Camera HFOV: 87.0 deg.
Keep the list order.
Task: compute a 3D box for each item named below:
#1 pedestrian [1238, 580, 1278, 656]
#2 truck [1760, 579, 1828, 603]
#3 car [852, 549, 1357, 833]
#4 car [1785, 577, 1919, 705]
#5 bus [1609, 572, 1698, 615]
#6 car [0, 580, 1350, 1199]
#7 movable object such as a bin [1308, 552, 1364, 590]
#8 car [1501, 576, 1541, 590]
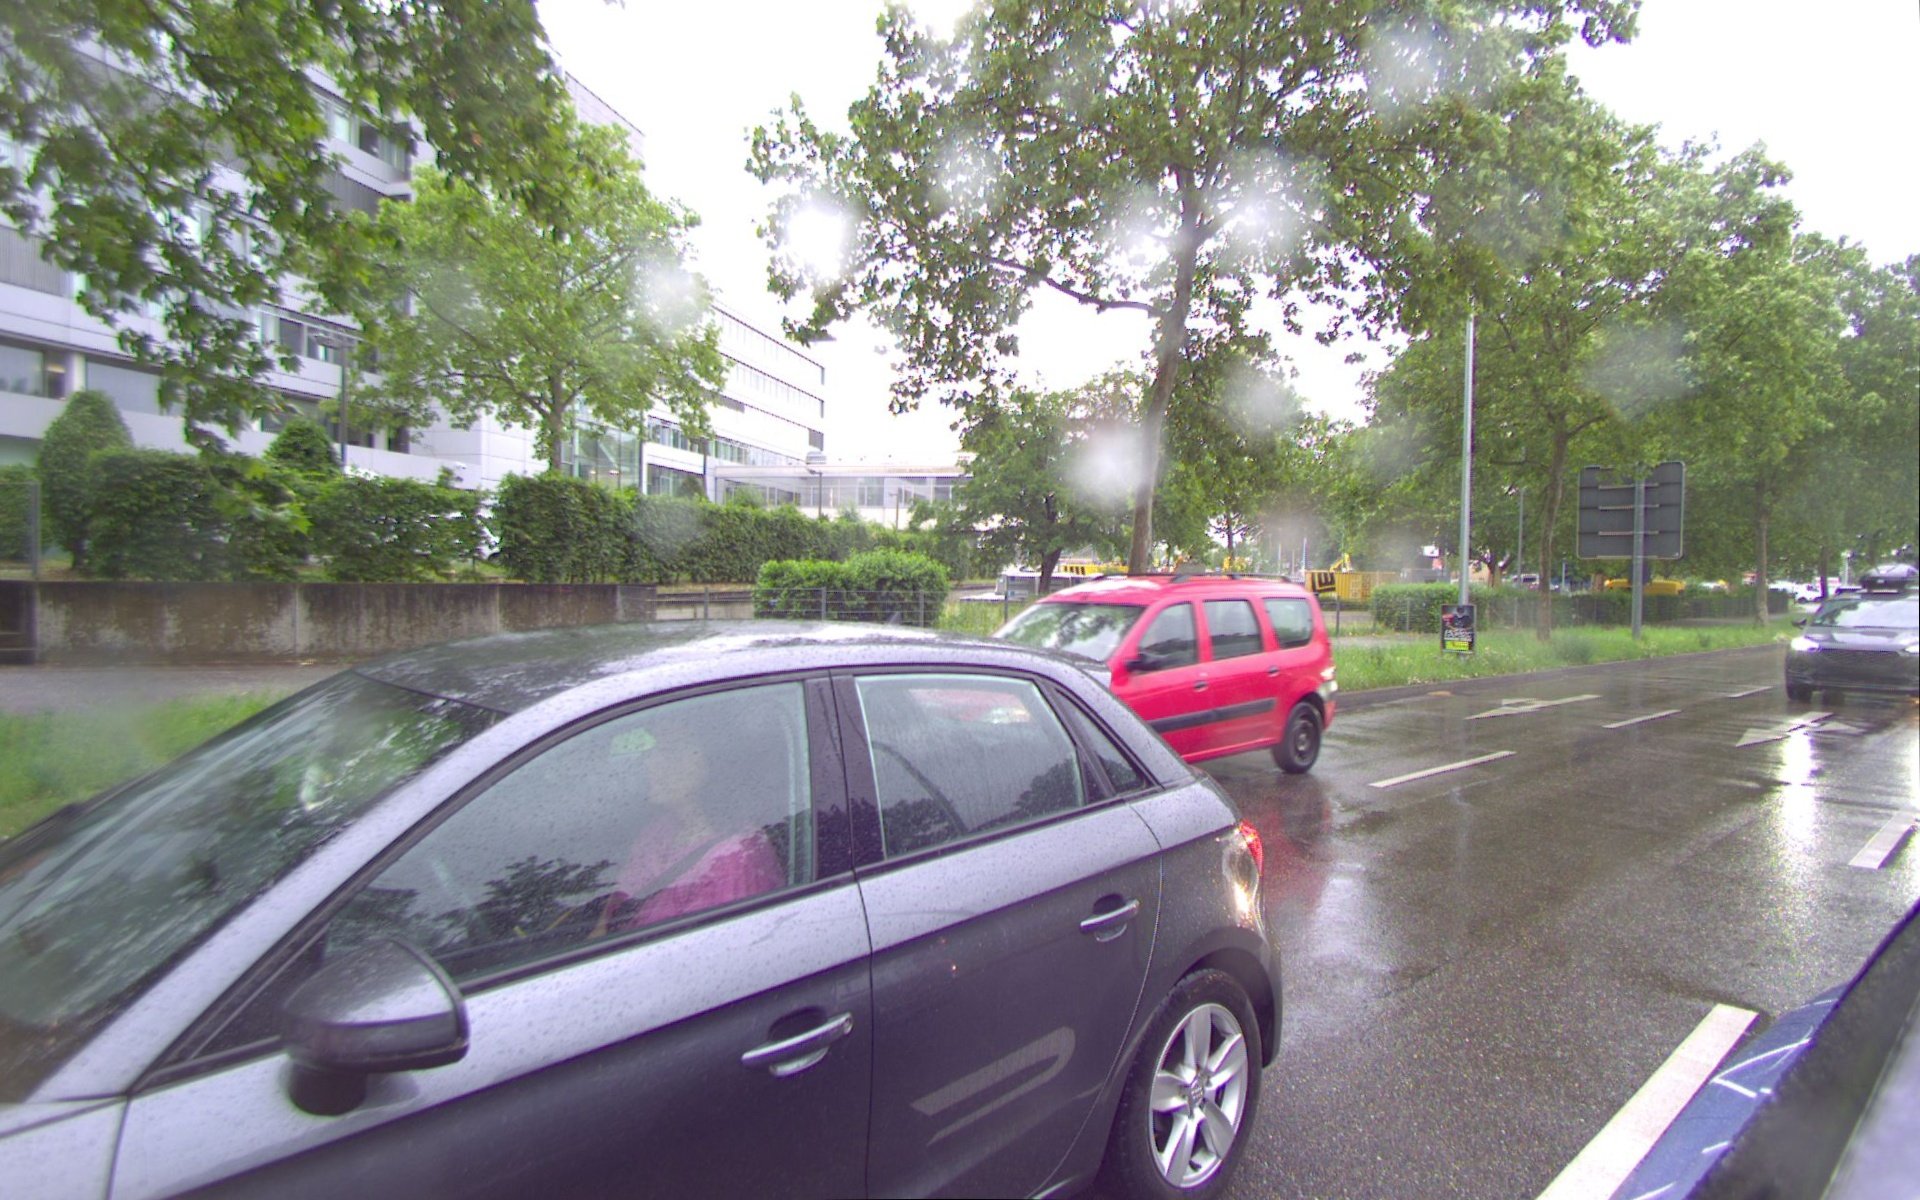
[{"bbox_3d":[6.964,0.404,23.617,0.645,1.738,0.645,0,0,-40],"label":"pedestrian"},{"bbox_3d":[85.202,-0.919,103.467,4.988,2.406,1.785,0,0,19],"label":"truck"},{"bbox_3d":[1.348,0.513,8.143,4.198,1.715,1.713,-1,1,-41],"label":"car"},{"bbox_3d":[14.265,0.542,15.469,4.347,1.719,1.892,0,1,-42],"label":"car"},{"bbox_3d":[43.735,-0.418,63.918,1.681,2.600,4.366,0,0,-41],"label":"bus"},{"bbox_3d":[-0.895,0.692,2.142,3.715,1.446,1.679,0,1,-41],"label":"car"},{"bbox_3d":[35.100,-2.677,94.629,1.879,3.478,4.946,0,0,-25],"label":"movable object such as a bin"},{"bbox_3d":[53.157,-1.586,95.950,3.115,1.346,1.419,0,0,23],"label":"car"}]
